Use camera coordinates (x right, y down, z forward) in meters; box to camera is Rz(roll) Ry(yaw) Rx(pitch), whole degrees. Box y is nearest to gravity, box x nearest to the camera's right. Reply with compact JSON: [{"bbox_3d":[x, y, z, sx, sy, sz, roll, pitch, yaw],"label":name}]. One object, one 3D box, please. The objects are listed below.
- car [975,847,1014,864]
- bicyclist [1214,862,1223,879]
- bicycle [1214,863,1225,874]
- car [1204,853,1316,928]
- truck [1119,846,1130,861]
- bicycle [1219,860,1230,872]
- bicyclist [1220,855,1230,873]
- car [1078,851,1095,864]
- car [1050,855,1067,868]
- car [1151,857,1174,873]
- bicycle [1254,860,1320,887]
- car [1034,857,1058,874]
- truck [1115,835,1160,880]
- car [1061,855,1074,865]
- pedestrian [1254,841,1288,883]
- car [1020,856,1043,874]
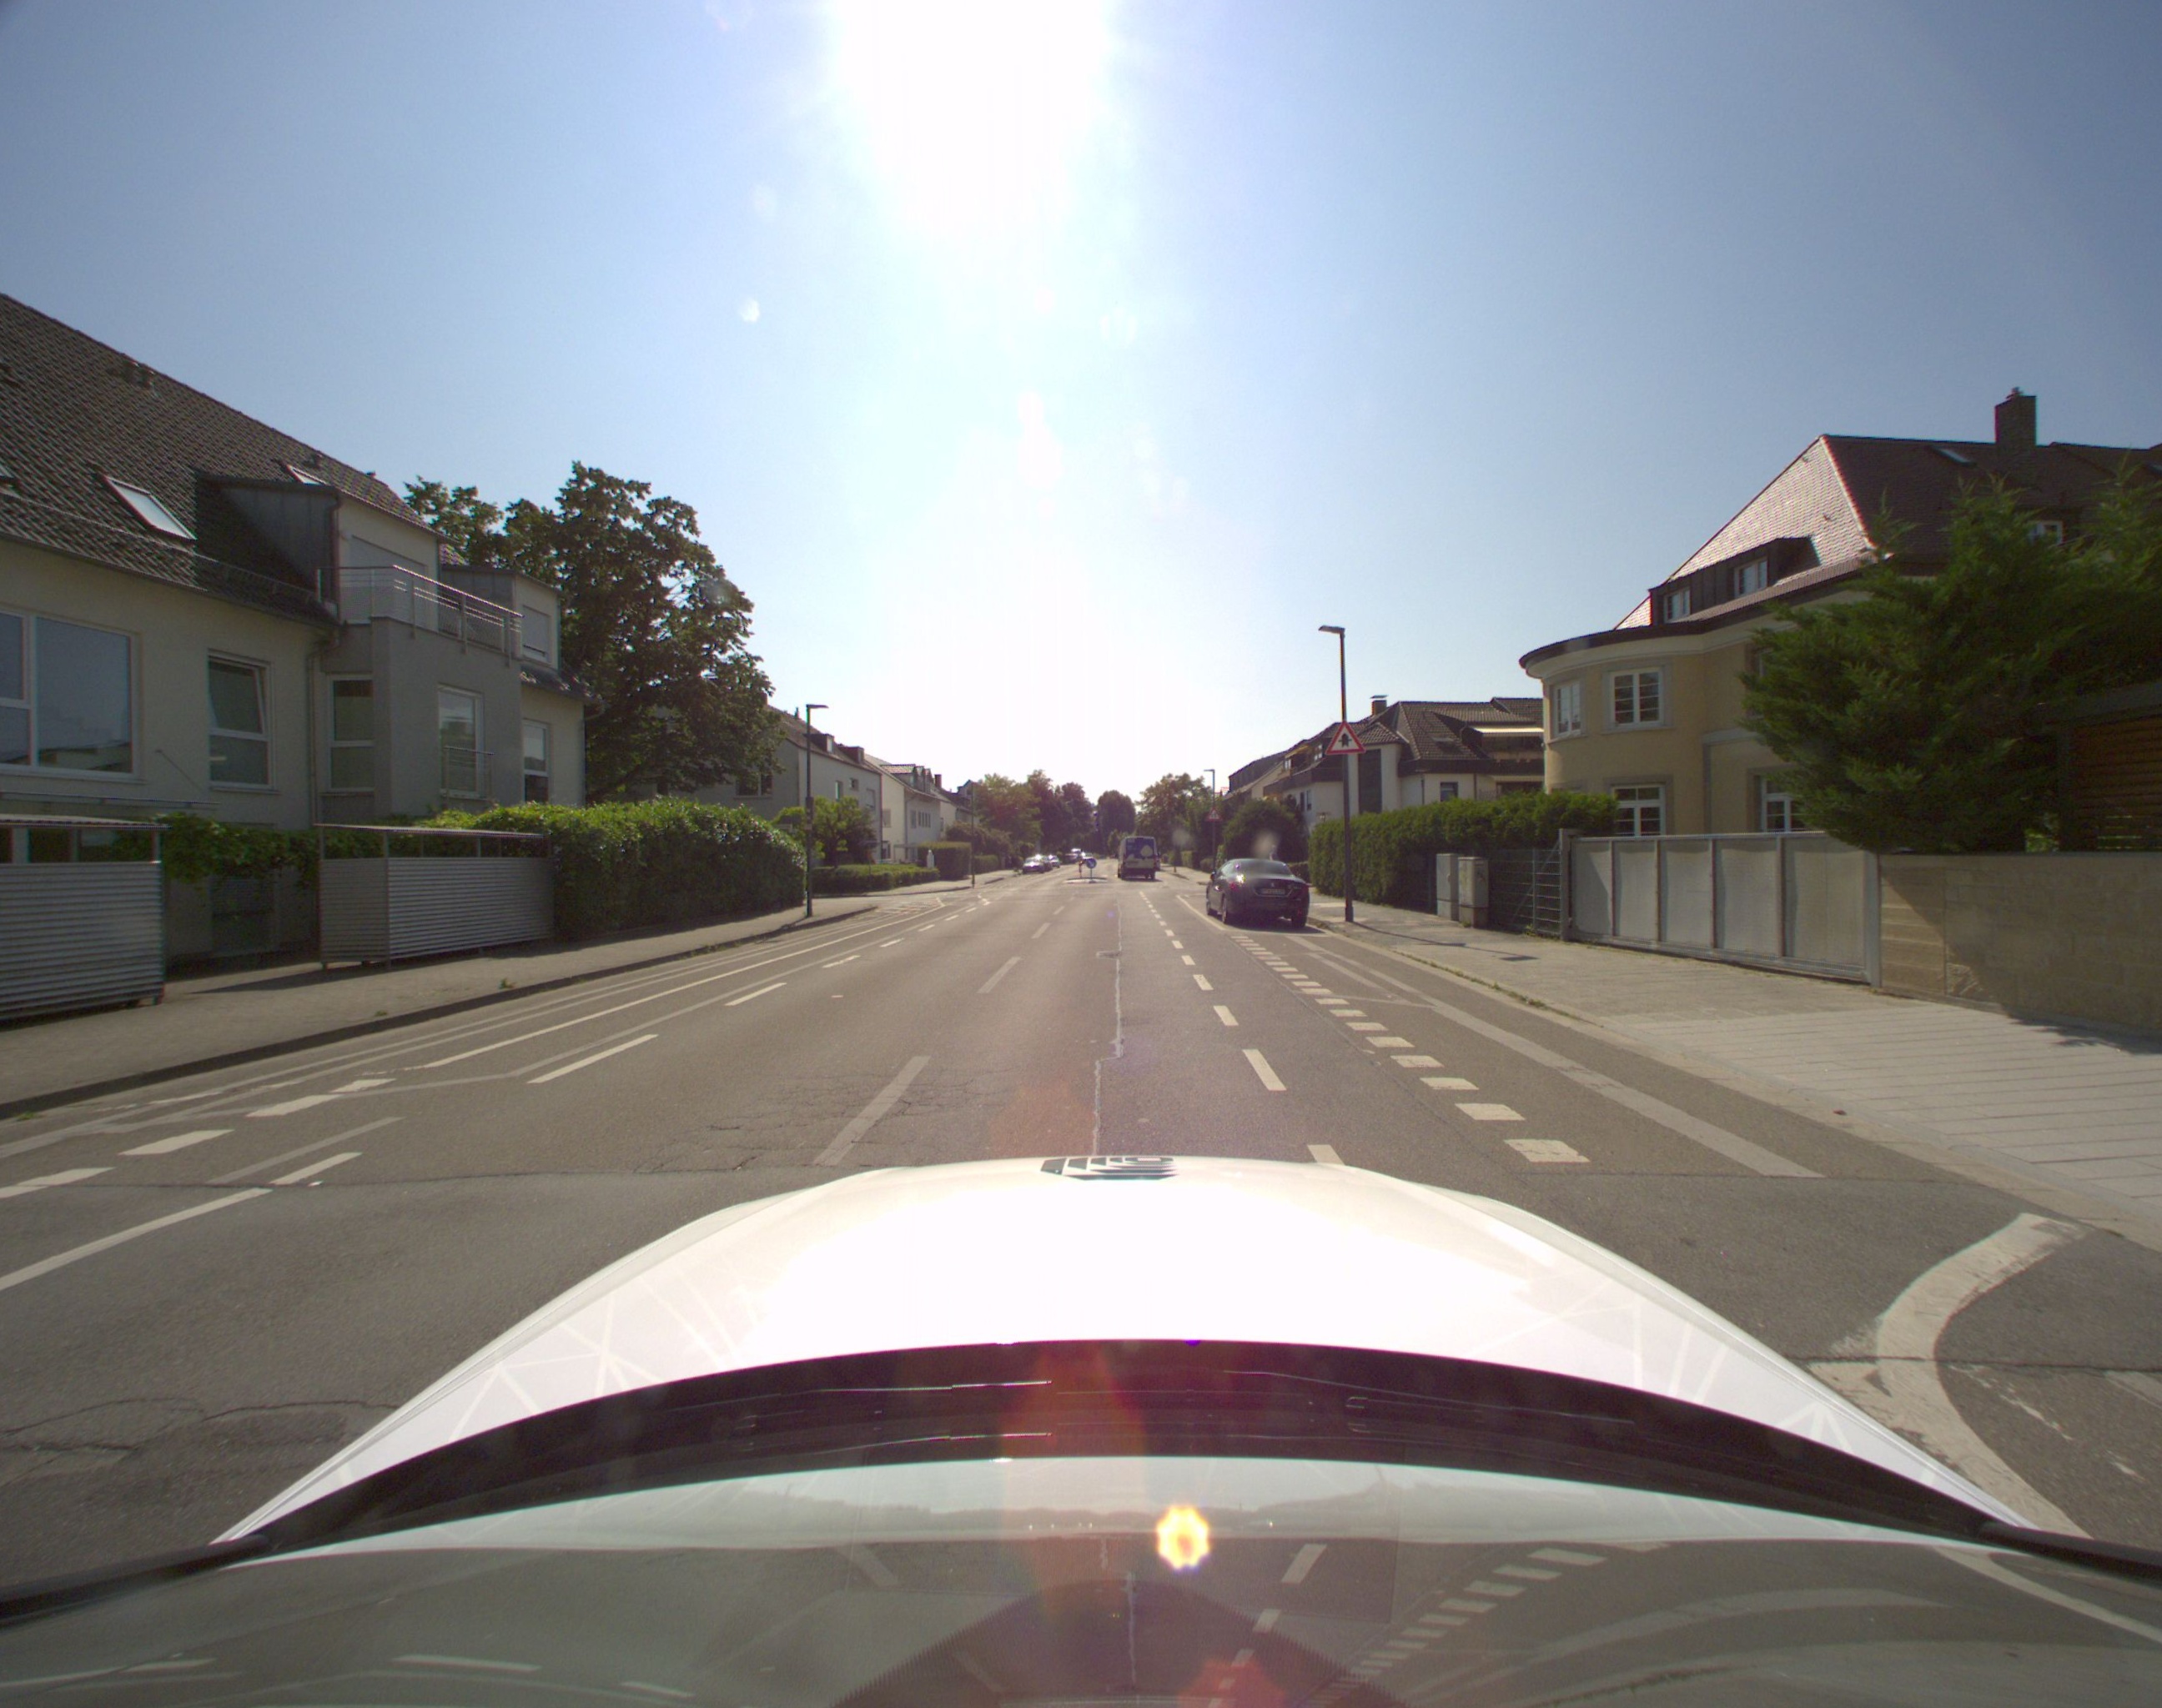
[{"bbox_3d":[-9.441,0.165,89.538,3.971,1.759,2.001,-1,0,2],"label":"car"},{"bbox_3d":[7.739,0.908,45.740,0.397,0.933,0.608,-1,-1,-1],"label":"bicyclist"},{"bbox_3d":[7.724,0.807,45.501,0.400,0.599,1.151,-1,0,-1],"label":"bicycle"},{"bbox_3d":[3.954,0.744,18.665,1.730,1.468,4.347,1,0,2],"label":"car"},{"bbox_3d":[8.849,-0.154,166.920,2.205,2.946,5.690,-1,0,3],"label":"truck"},{"bbox_3d":[7.623,0.631,43.315,0.400,0.599,1.173,-1,0,-1],"label":"bicycle"},{"bbox_3d":[7.633,0.536,43.175,0.400,0.929,0.657,-1,-1,-1],"label":"bicyclist"},{"bbox_3d":[0.741,0.454,109.188,1.907,1.666,4.509,-3,0,3],"label":"car"},{"bbox_3d":[-2.570,0.858,94.115,1.778,1.440,4.002,-1,0,2],"label":"car"},{"bbox_3d":[7.329,1.002,73.628,1.734,1.402,4.074,-2,-1,1],"label":"car"},{"bbox_3d":[9.119,0.855,36.070,2.676,1.158,0.869,-1,0,34],"label":"bicycle"},{"bbox_3d":[-3.246,1.073,77.298,1.777,1.440,4.115,-2,0,4],"label":"car"},{"bbox_3d":[3.421,0.217,50.028,2.266,2.571,4.388,-1,0,-2],"label":"truck"},{"bbox_3d":[-2.104,0.907,128.221,1.774,1.460,4.087,-1,0,1],"label":"car"},{"bbox_3d":[8.633,0.362,37.024,0.904,1.872,1.177,-1,-1,-31],"label":"pedestrian"},{"bbox_3d":[-4.282,0.922,70.612,1.780,1.440,4.153,-3,0,-1],"label":"car"}]
